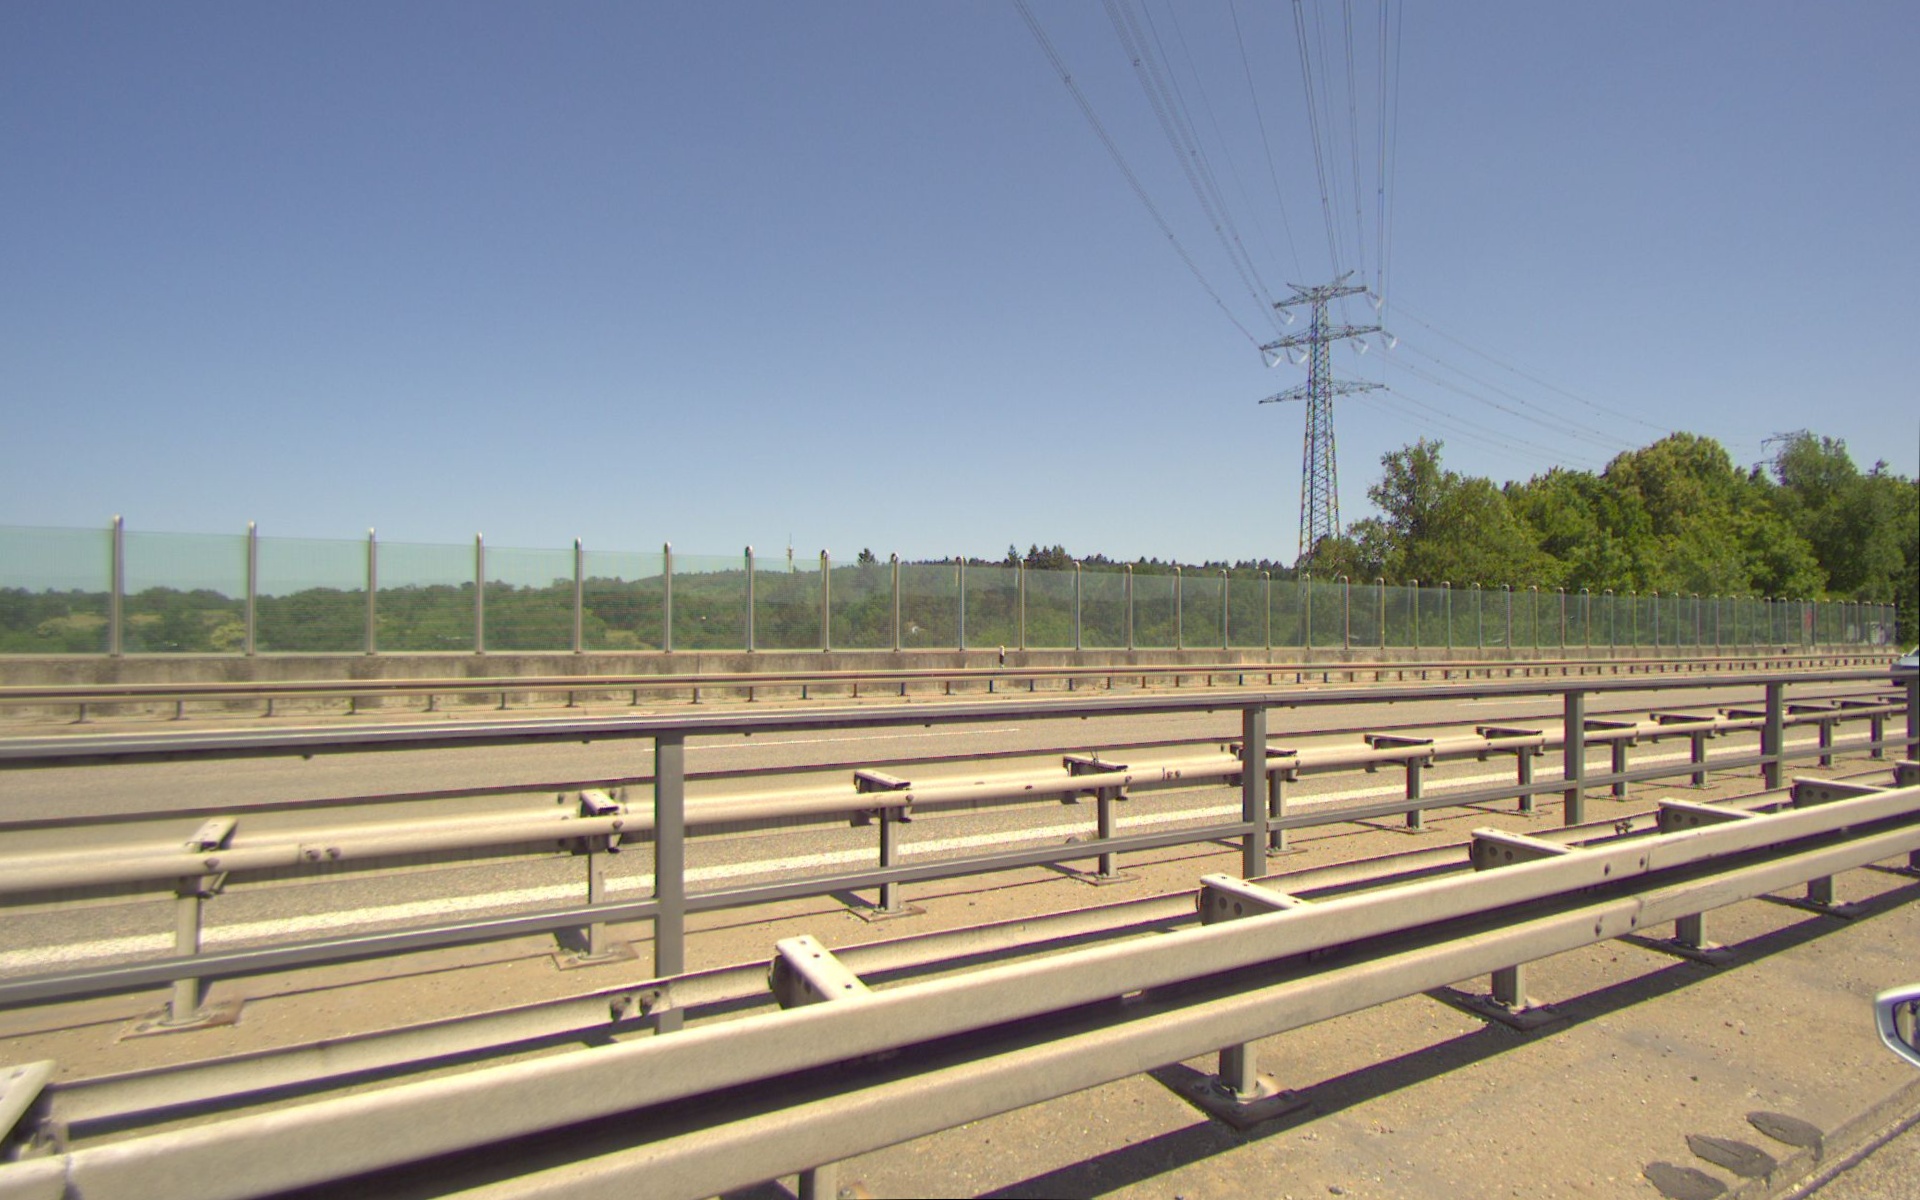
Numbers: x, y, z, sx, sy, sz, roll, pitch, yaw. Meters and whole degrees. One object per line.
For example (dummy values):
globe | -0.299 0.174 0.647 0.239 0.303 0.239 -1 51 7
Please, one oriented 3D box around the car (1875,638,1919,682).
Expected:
car | 32.276 1.987 33.185 4.117 1.412 1.901 2 -3 -31
